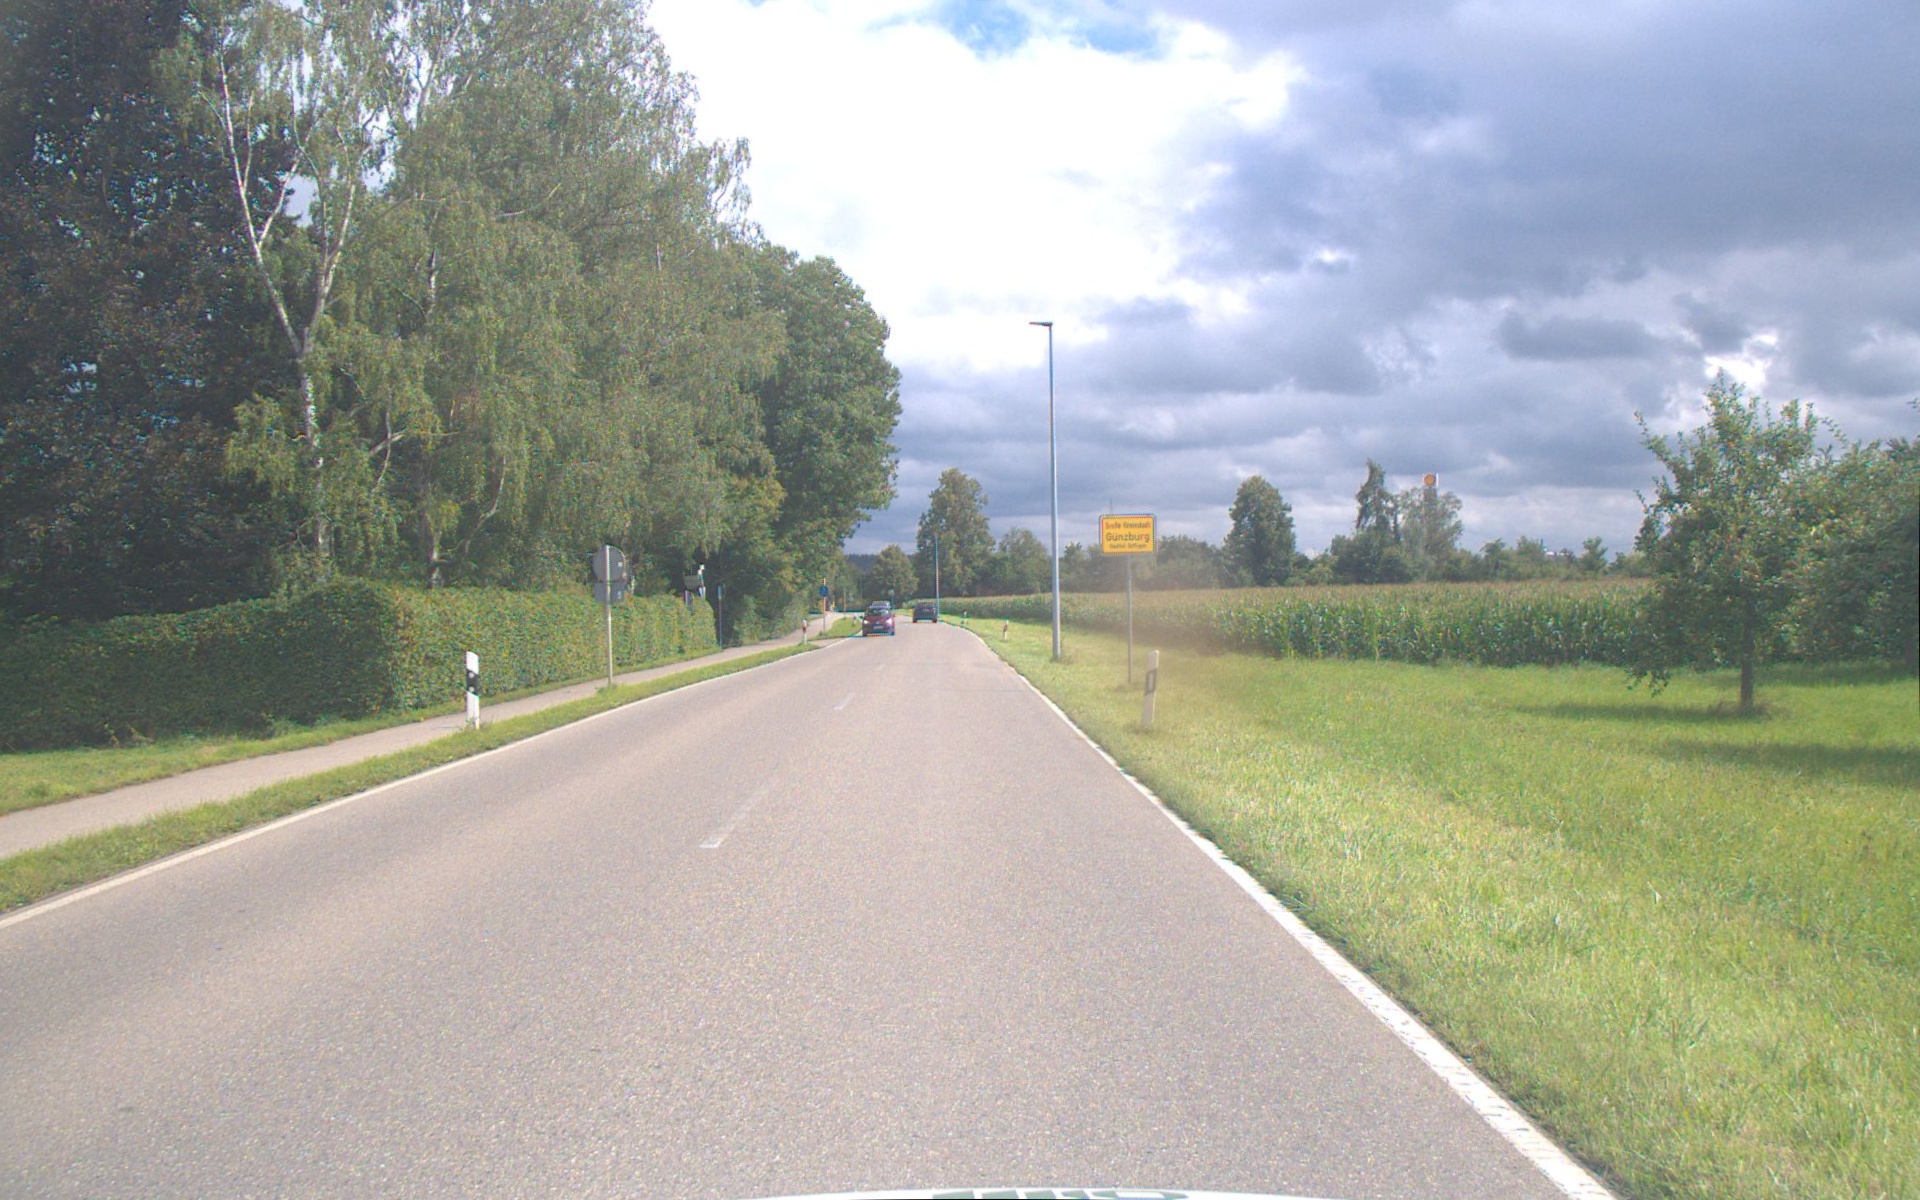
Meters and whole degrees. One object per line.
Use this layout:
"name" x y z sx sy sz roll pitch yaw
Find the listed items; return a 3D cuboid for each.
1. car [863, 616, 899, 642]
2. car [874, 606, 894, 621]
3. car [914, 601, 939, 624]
"car" -4.024 1.475 84.704 1.710 1.243 3.542 -2 0 -1
"car" -7.167 1.270 155.581 1.710 1.243 3.542 -2 0 -1
"car" -2.619 0.961 130.536 1.868 1.695 3.999 -2 0 -1
